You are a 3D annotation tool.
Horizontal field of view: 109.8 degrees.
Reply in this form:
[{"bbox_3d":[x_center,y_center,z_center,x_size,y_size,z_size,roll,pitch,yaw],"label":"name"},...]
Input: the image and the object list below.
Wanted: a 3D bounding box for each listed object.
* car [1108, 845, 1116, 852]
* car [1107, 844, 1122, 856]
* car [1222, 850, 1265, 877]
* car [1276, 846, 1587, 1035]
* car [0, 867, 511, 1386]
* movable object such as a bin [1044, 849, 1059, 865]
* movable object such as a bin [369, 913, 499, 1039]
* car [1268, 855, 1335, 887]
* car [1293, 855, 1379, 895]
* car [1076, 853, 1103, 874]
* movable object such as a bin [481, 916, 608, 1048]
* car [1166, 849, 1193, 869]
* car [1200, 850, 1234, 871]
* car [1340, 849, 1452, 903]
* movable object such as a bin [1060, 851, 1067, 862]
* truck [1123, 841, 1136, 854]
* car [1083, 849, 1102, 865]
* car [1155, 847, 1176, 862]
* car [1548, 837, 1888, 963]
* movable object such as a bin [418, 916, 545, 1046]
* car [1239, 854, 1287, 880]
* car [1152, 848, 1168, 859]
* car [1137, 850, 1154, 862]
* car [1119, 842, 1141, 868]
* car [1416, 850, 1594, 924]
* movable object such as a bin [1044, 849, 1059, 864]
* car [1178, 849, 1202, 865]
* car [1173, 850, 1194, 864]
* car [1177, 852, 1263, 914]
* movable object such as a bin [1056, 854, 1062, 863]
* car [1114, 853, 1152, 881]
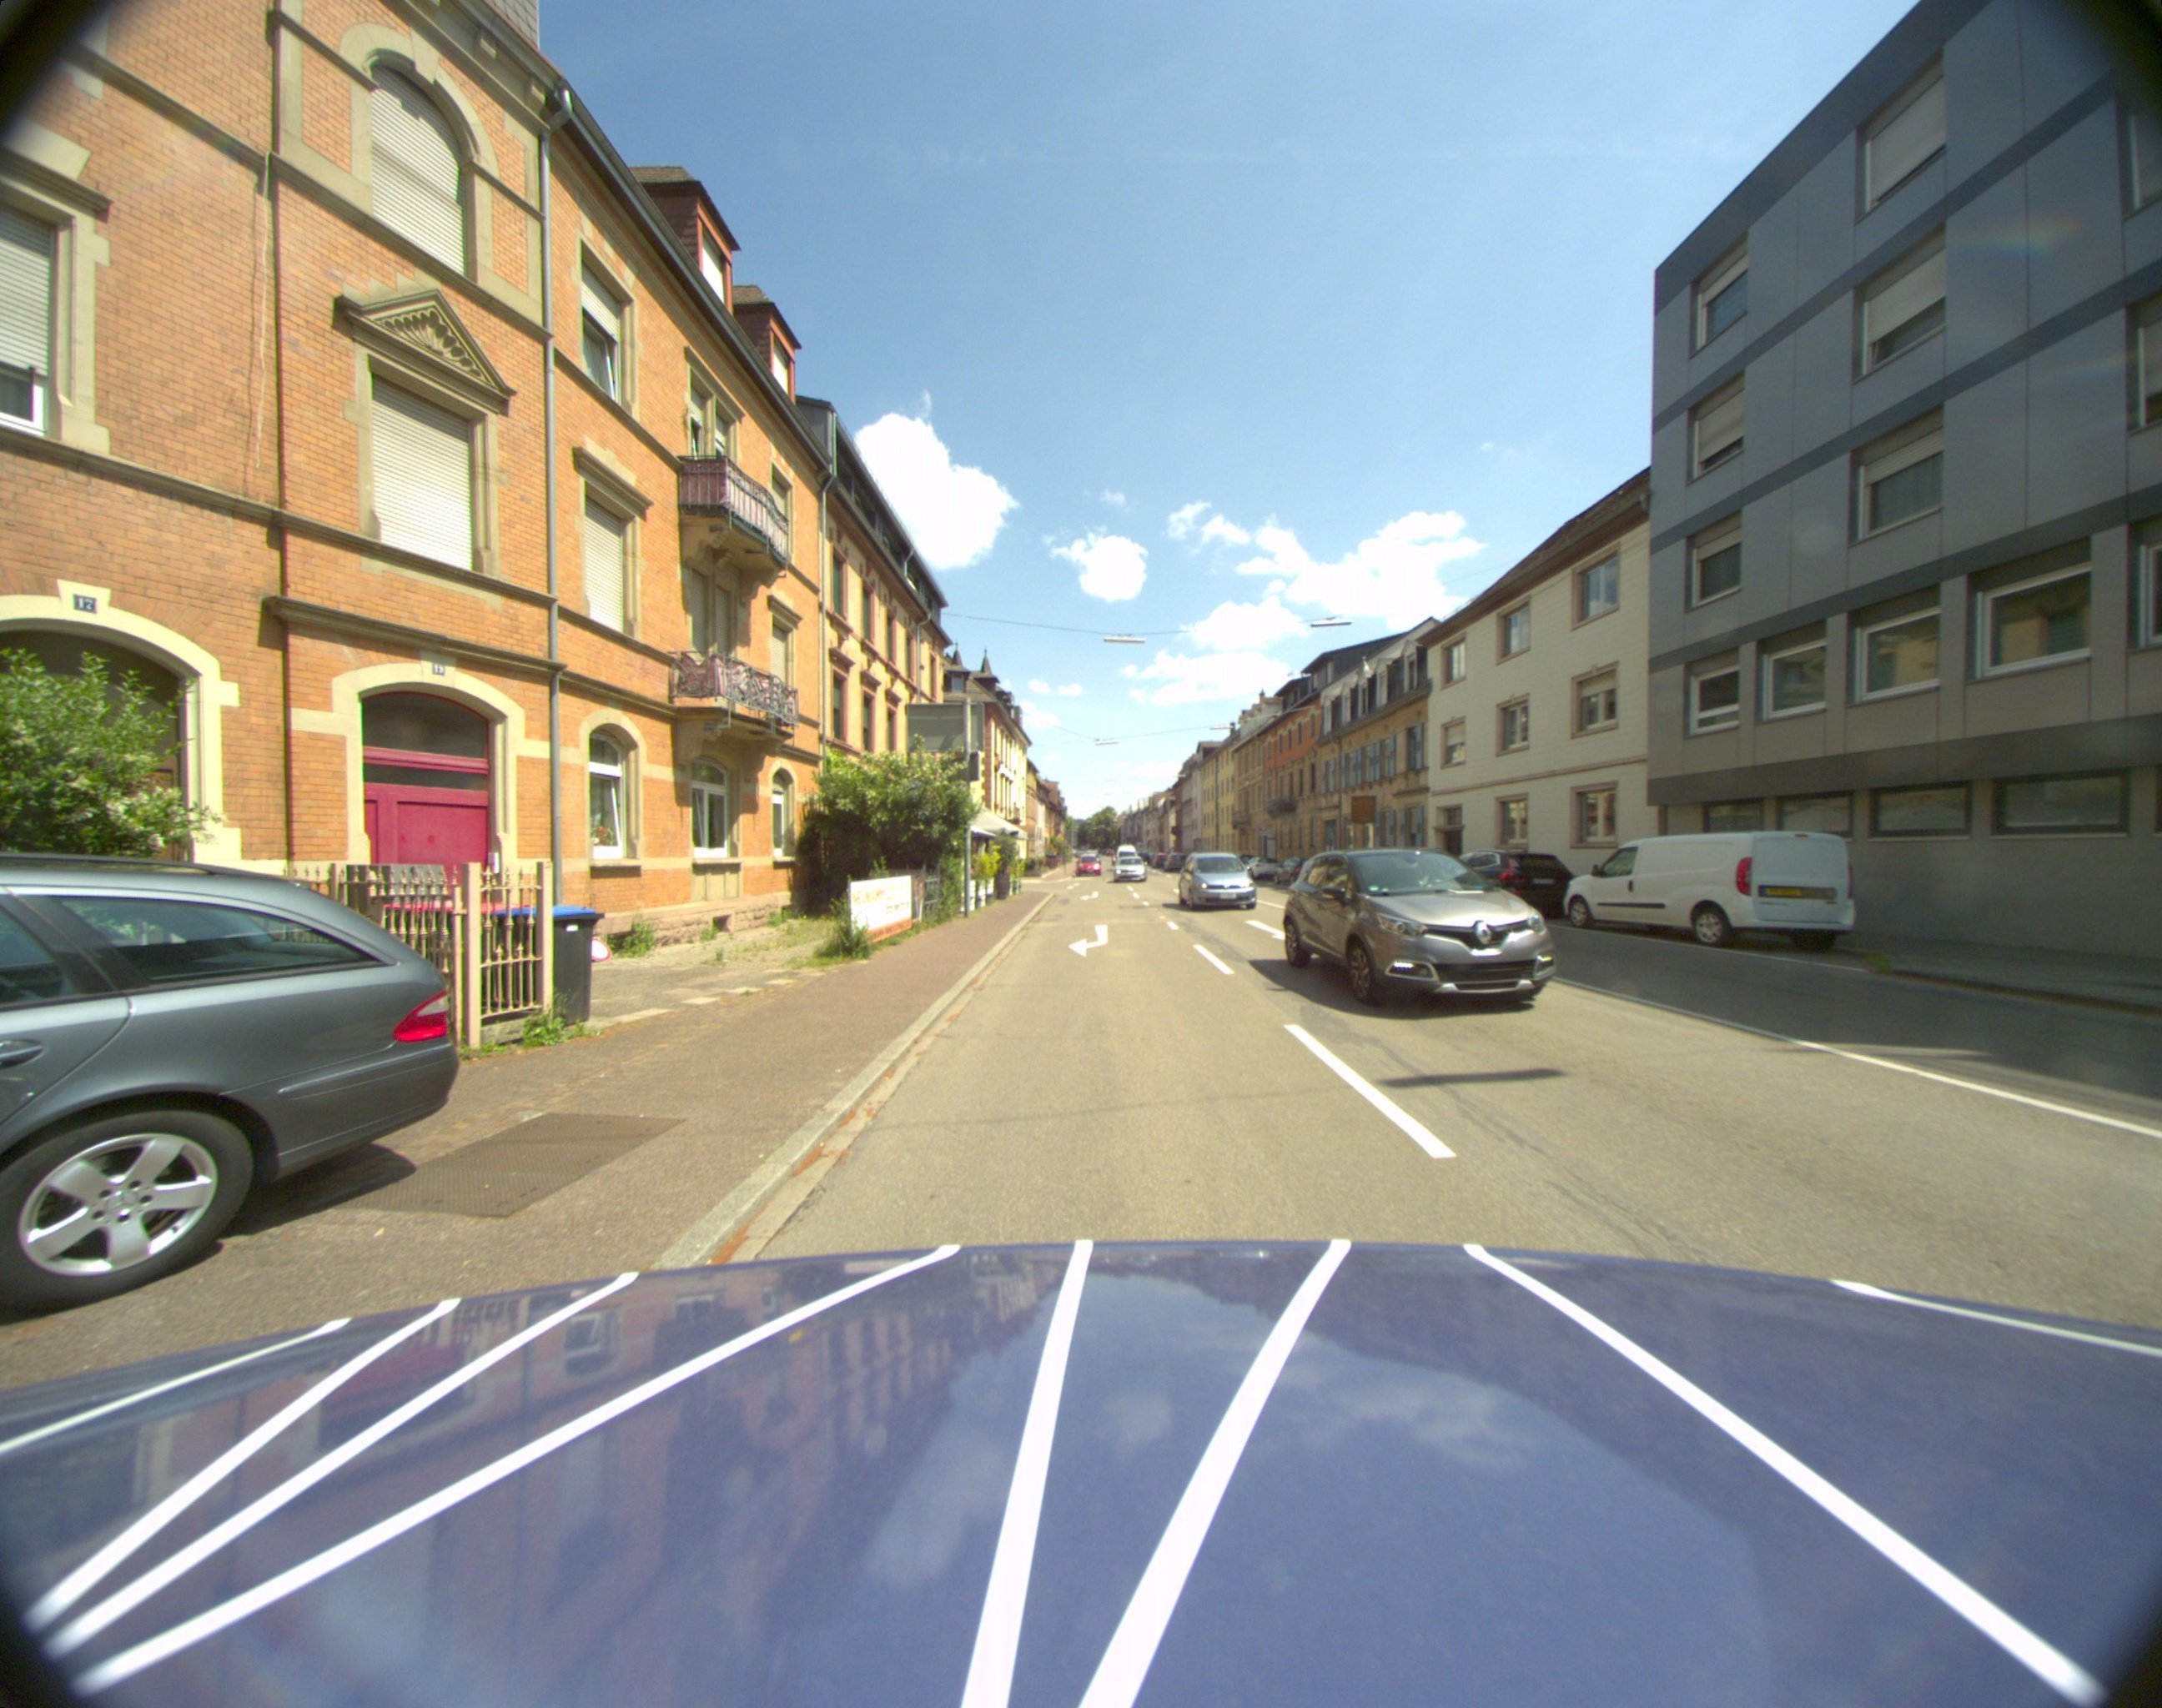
[{"bbox_3d":[7.339,-1.363,181.742,1.708,1.470,3.930,-2,1,0],"label":"car"},{"bbox_3d":[4.268,-0.530,96.978,1.904,1.489,4.487,-1,1,2],"label":"car"},{"bbox_3d":[11.041,0.604,51.836,1.870,1.618,4.499,3,1,-1],"label":"car"},{"bbox_3d":[3.591,0.760,8.666,1.758,1.622,4.000,-1,0,1],"label":"car"},{"bbox_3d":[-4.516,0.814,1.548,1.836,1.539,5.165,0,-1,21],"label":"car"},{"bbox_3d":[-2.721,0.279,69.390,1.285,1.388,1.413,0,1,2],"label":"movable object such as a bin"},{"bbox_3d":[-6.062,1.118,7.151,0.576,1.065,0.706,-1,1,10],"label":"movable object such as a bin"},{"bbox_3d":[11.002,0.808,38.286,1.870,1.398,4.329,3,1,-3],"label":"car"},{"bbox_3d":[10.890,0.848,32.888,1.870,1.398,4.836,3,1,-2],"label":"car"},{"bbox_3d":[0.606,0.677,56.312,1.762,1.470,3.782,-3,1,-2],"label":"car"},{"bbox_3d":[-4.793,1.115,6.816,0.650,1.065,0.637,-1,1,11],"label":"movable object such as a bin"},{"bbox_3d":[8.092,0.392,62.708,1.706,1.565,4.312,0,0,1],"label":"car"},{"bbox_3d":[11.340,0.497,63.626,1.870,1.542,4.499,3,1,-1],"label":"car"},{"bbox_3d":[10.543,0.661,25.860,1.889,1.631,4.817,1,1,1],"label":"car"},{"bbox_3d":[-2.014,0.247,86.644,0.753,1.235,0.877,0,1,0],"label":"movable object such as a bin"},{"bbox_3d":[10.401,-1.385,164.356,2.323,2.725,8.067,0,1,0],"label":"truck"},{"bbox_3d":[1.180,0.313,77.588,1.762,1.470,4.418,-3,1,0],"label":"car"},{"bbox_3d":[8.181,0.040,74.064,1.706,1.469,4.133,0,0,1],"label":"car"},{"bbox_3d":[10.766,0.642,13.481,1.919,1.815,4.787,1,1,-1],"label":"car"},{"bbox_3d":[-5.476,1.131,6.972,0.552,1.065,0.706,-1,1,10],"label":"movable object such as a bin"},{"bbox_3d":[11.114,0.756,46.667,1.869,1.418,4.330,3,1,0],"label":"car"},{"bbox_3d":[11.917,-0.089,114.353,1.749,1.403,4.103,3,1,-2],"label":"car"},{"bbox_3d":[8.306,0.220,97.588,1.764,1.486,4.245,0,0,0],"label":"car"},{"bbox_3d":[4.440,0.030,69.623,1.904,2.261,5.672,-1,1,3],"label":"car"},{"bbox_3d":[10.607,0.733,19.493,1.890,1.631,4.662,1,1,-1],"label":"car"},{"bbox_3d":[-2.711,0.239,70.805,1.285,1.388,1.364,0,1,2],"label":"movable object such as a bin"},{"bbox_3d":[11.308,0.320,79.146,1.869,1.542,4.313,3,1,0],"label":"car"},{"bbox_3d":[11.320,0.307,84.148,1.749,1.403,3.915,3,1,2],"label":"car"},{"bbox_3d":[3.869,0.752,21.768,1.758,1.559,4.000,-1,0,1],"label":"car"},{"bbox_3d":[-2.195,0.453,75.057,0.626,0.923,0.612,0,1,0],"label":"movable object such as a bin"},{"bbox_3d":[3.069,0.731,44.180,1.903,1.489,4.489,-1,1,8],"label":"car"}]
